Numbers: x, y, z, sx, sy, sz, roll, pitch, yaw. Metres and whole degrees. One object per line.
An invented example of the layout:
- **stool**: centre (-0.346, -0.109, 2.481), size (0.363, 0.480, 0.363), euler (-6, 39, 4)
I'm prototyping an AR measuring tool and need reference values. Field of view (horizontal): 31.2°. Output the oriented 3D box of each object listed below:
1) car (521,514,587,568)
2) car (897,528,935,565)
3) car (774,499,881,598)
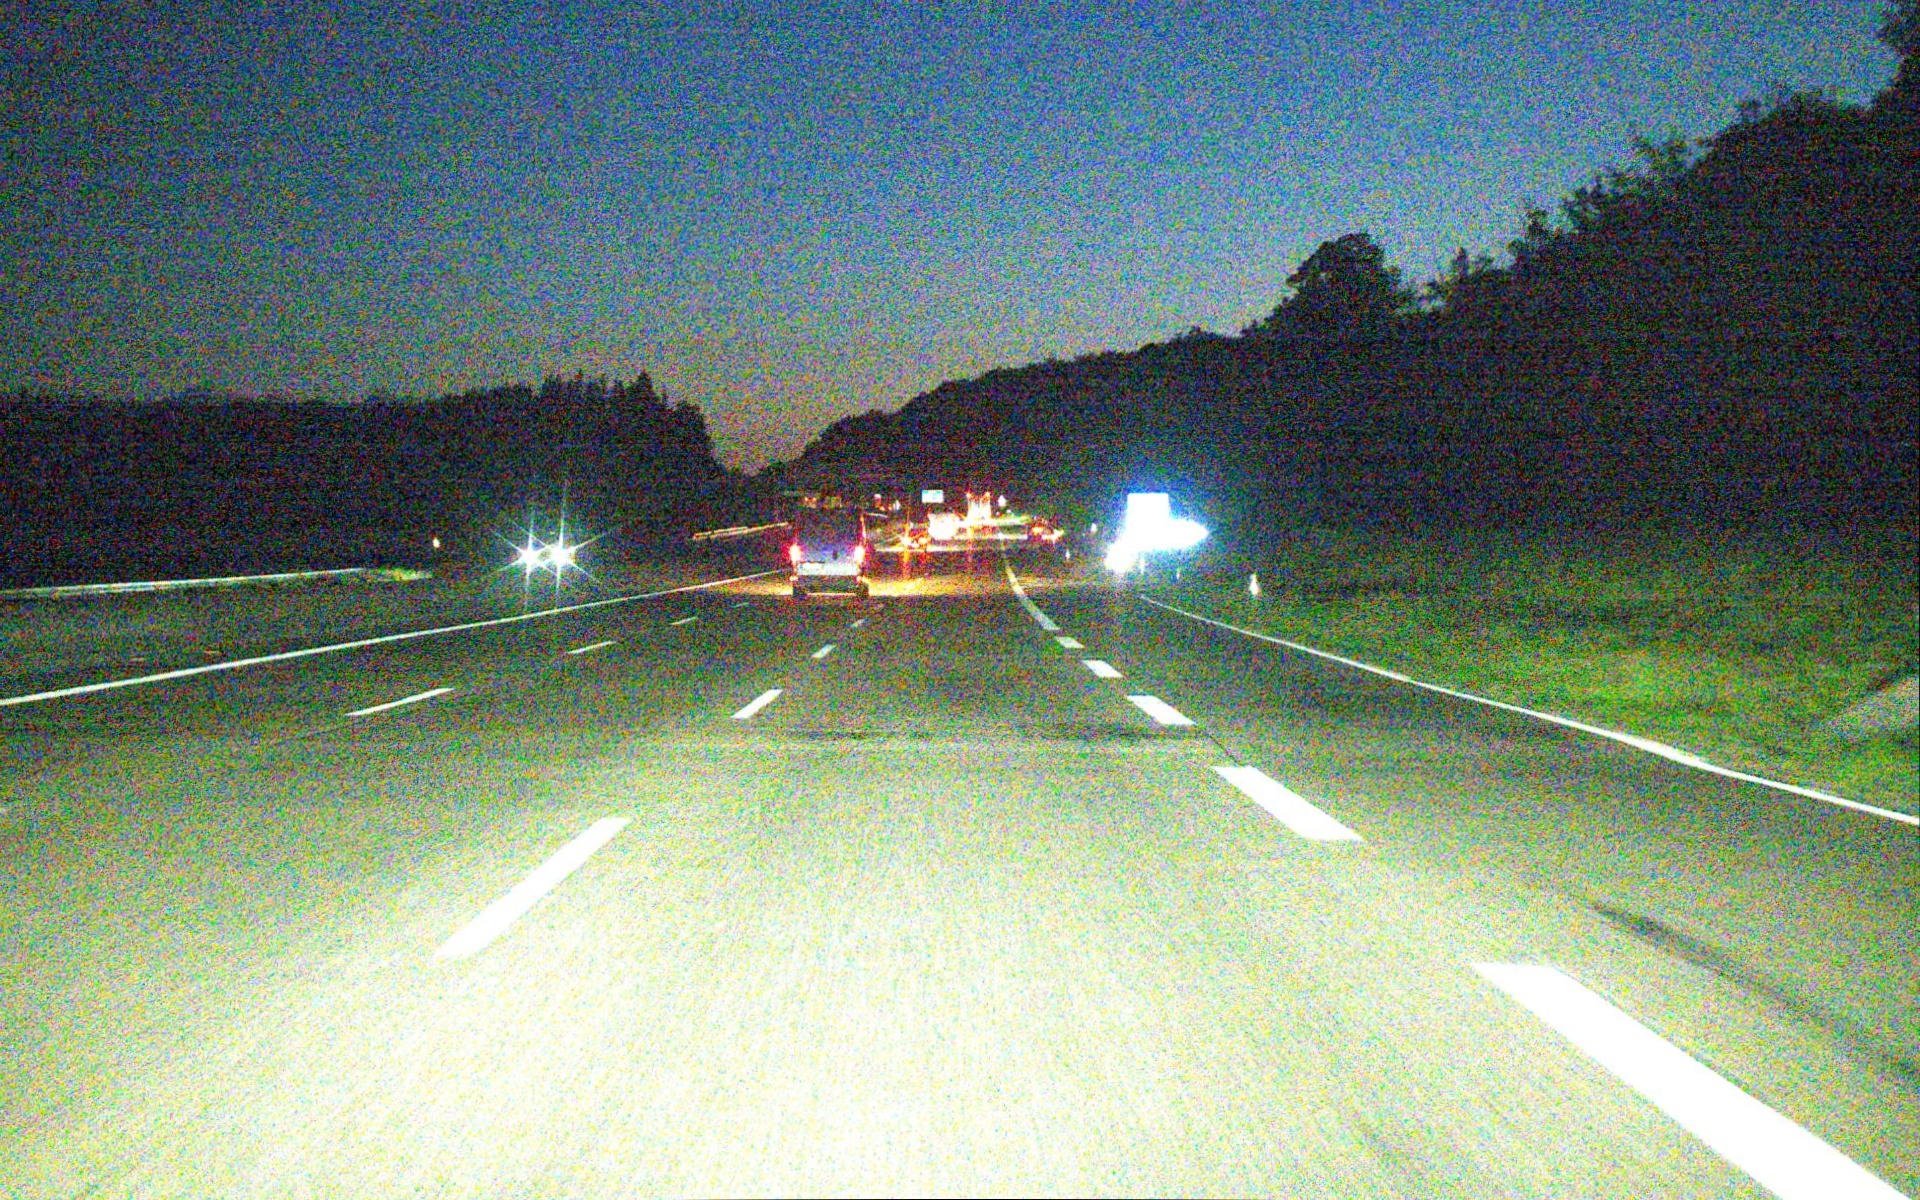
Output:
- **car**: centre (-22.279, -3.257, 188.847), size (2.846, 2.927, 6.602), euler (0, 1, 0)
- **car**: centre (-3.312, -3.987, 257.392), size (2.786, 2.724, 6.299), euler (-1, 0, -1)
- **car**: centre (-3.747, -1.430, 98.468), size (2.786, 2.724, 6.299), euler (-1, 0, 0)
